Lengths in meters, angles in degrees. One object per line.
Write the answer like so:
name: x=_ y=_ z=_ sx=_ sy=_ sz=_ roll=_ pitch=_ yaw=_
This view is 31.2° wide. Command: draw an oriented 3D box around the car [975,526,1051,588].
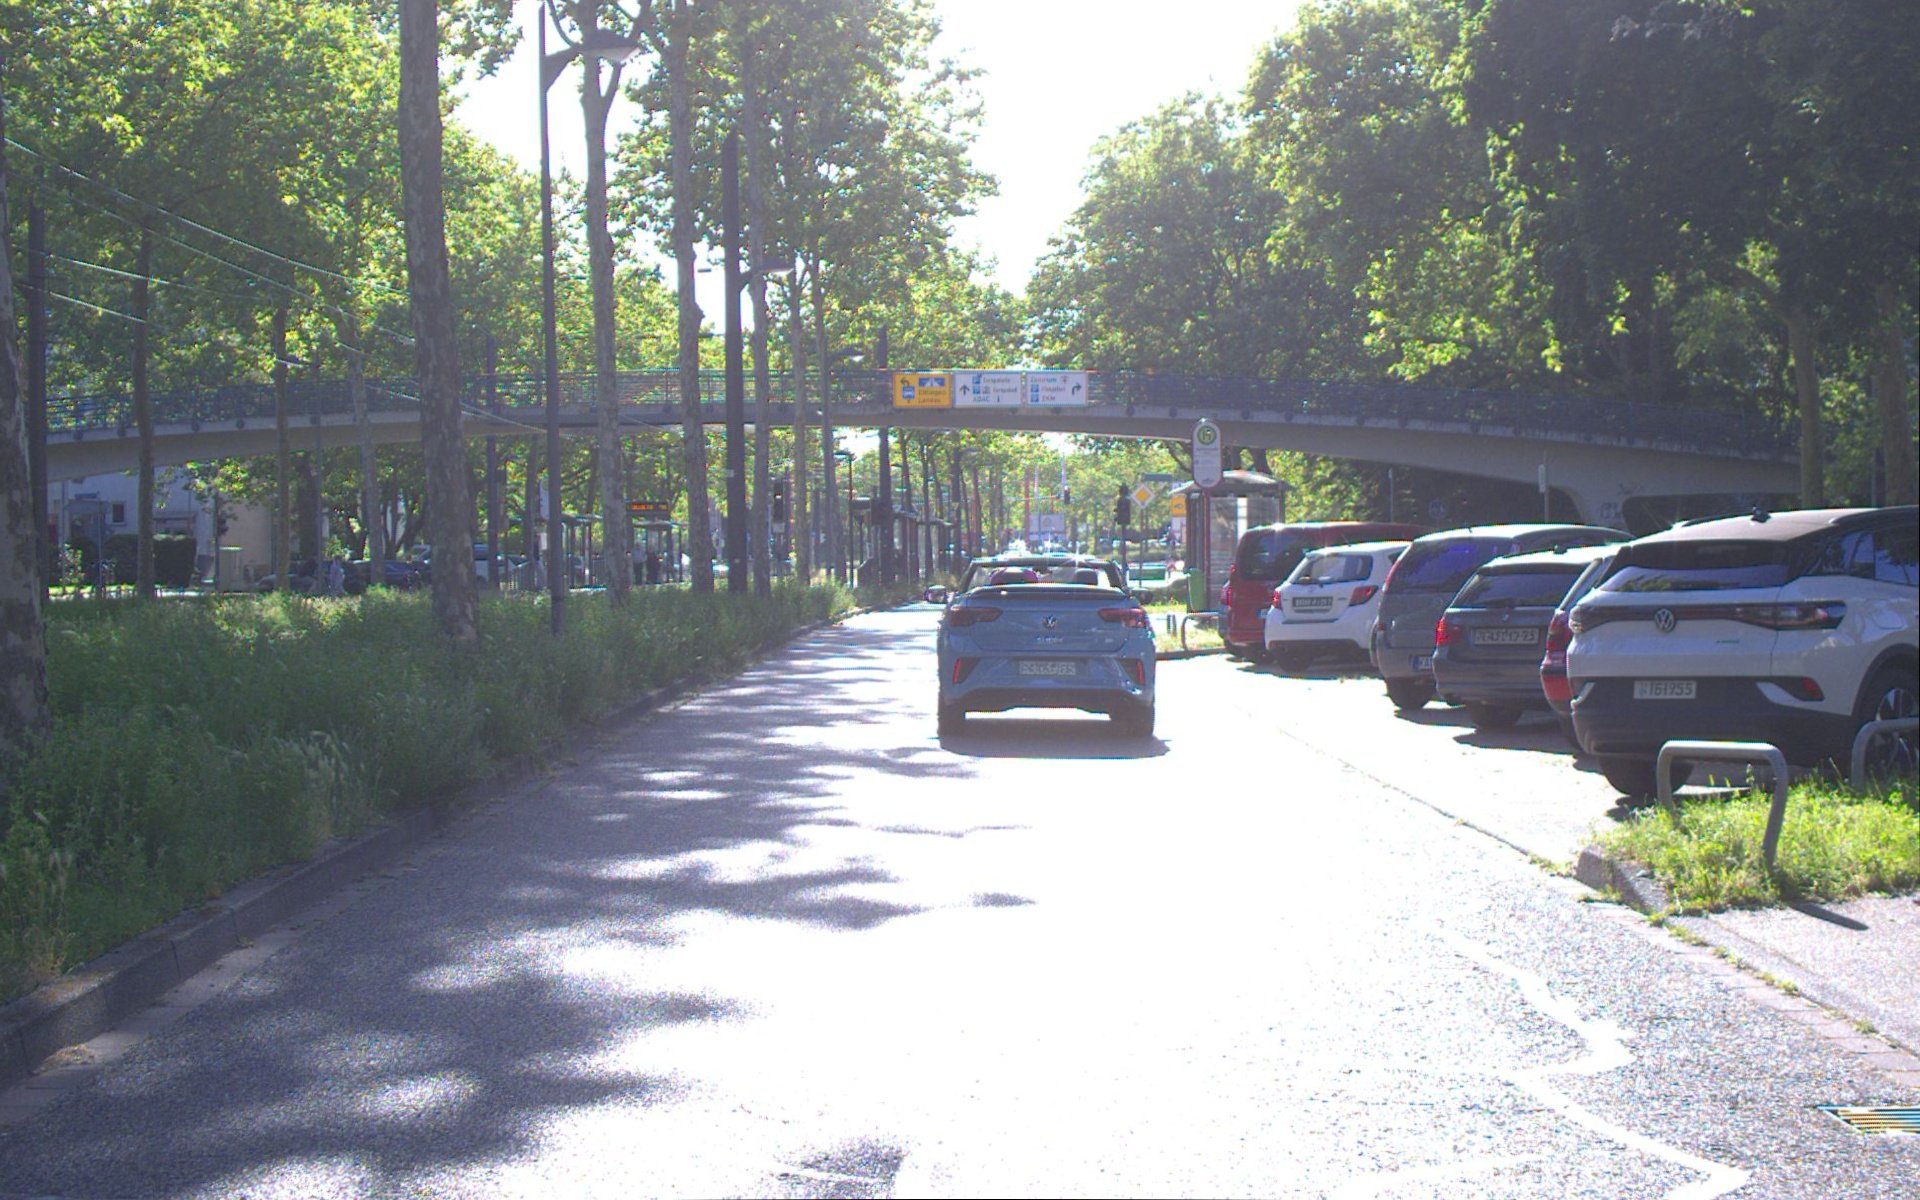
car: x=1.437 y=-1.198 z=94.180 sx=1.993 sy=1.645 sz=4.000 roll=1 pitch=1 yaw=0

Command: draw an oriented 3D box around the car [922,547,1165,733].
car: x=0.671 y=0.288 z=29.283 sx=1.922 sy=1.406 sz=4.000 roll=0 pitch=2 yaw=0

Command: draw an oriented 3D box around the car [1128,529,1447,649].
car: x=4.642 y=-0.181 z=48.287 sx=4.612 sy=1.608 sz=1.856 roll=-1 pitch=1 yaw=-43

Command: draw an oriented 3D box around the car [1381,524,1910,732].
car: x=5.632 y=0.165 z=27.902 sx=4.612 sy=1.516 sz=1.856 roll=-2 pitch=2 yaw=-43

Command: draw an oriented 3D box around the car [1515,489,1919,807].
car: x=5.469 y=0.219 z=20.369 sx=4.612 sy=1.674 sz=1.856 roll=-1 pitch=1 yaw=-43

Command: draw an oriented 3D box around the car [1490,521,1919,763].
car: x=5.992 y=0.241 z=24.632 sx=4.612 sy=1.564 sz=1.856 roll=-1 pitch=2 yaw=-43

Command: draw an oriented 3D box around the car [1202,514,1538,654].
car: x=5.464 y=-0.233 z=45.460 sx=4.612 sy=1.762 sz=1.856 roll=-1 pitch=1 yaw=-43

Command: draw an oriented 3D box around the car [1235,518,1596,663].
car: x=5.617 y=-0.143 z=42.055 sx=4.612 sy=1.674 sz=1.856 roll=-1 pitch=1 yaw=-43

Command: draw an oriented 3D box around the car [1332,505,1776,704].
car: x=5.554 y=0.010 z=31.744 sx=1.855 sy=1.674 sz=4.600 roll=-2 pitch=0 yaw=41
